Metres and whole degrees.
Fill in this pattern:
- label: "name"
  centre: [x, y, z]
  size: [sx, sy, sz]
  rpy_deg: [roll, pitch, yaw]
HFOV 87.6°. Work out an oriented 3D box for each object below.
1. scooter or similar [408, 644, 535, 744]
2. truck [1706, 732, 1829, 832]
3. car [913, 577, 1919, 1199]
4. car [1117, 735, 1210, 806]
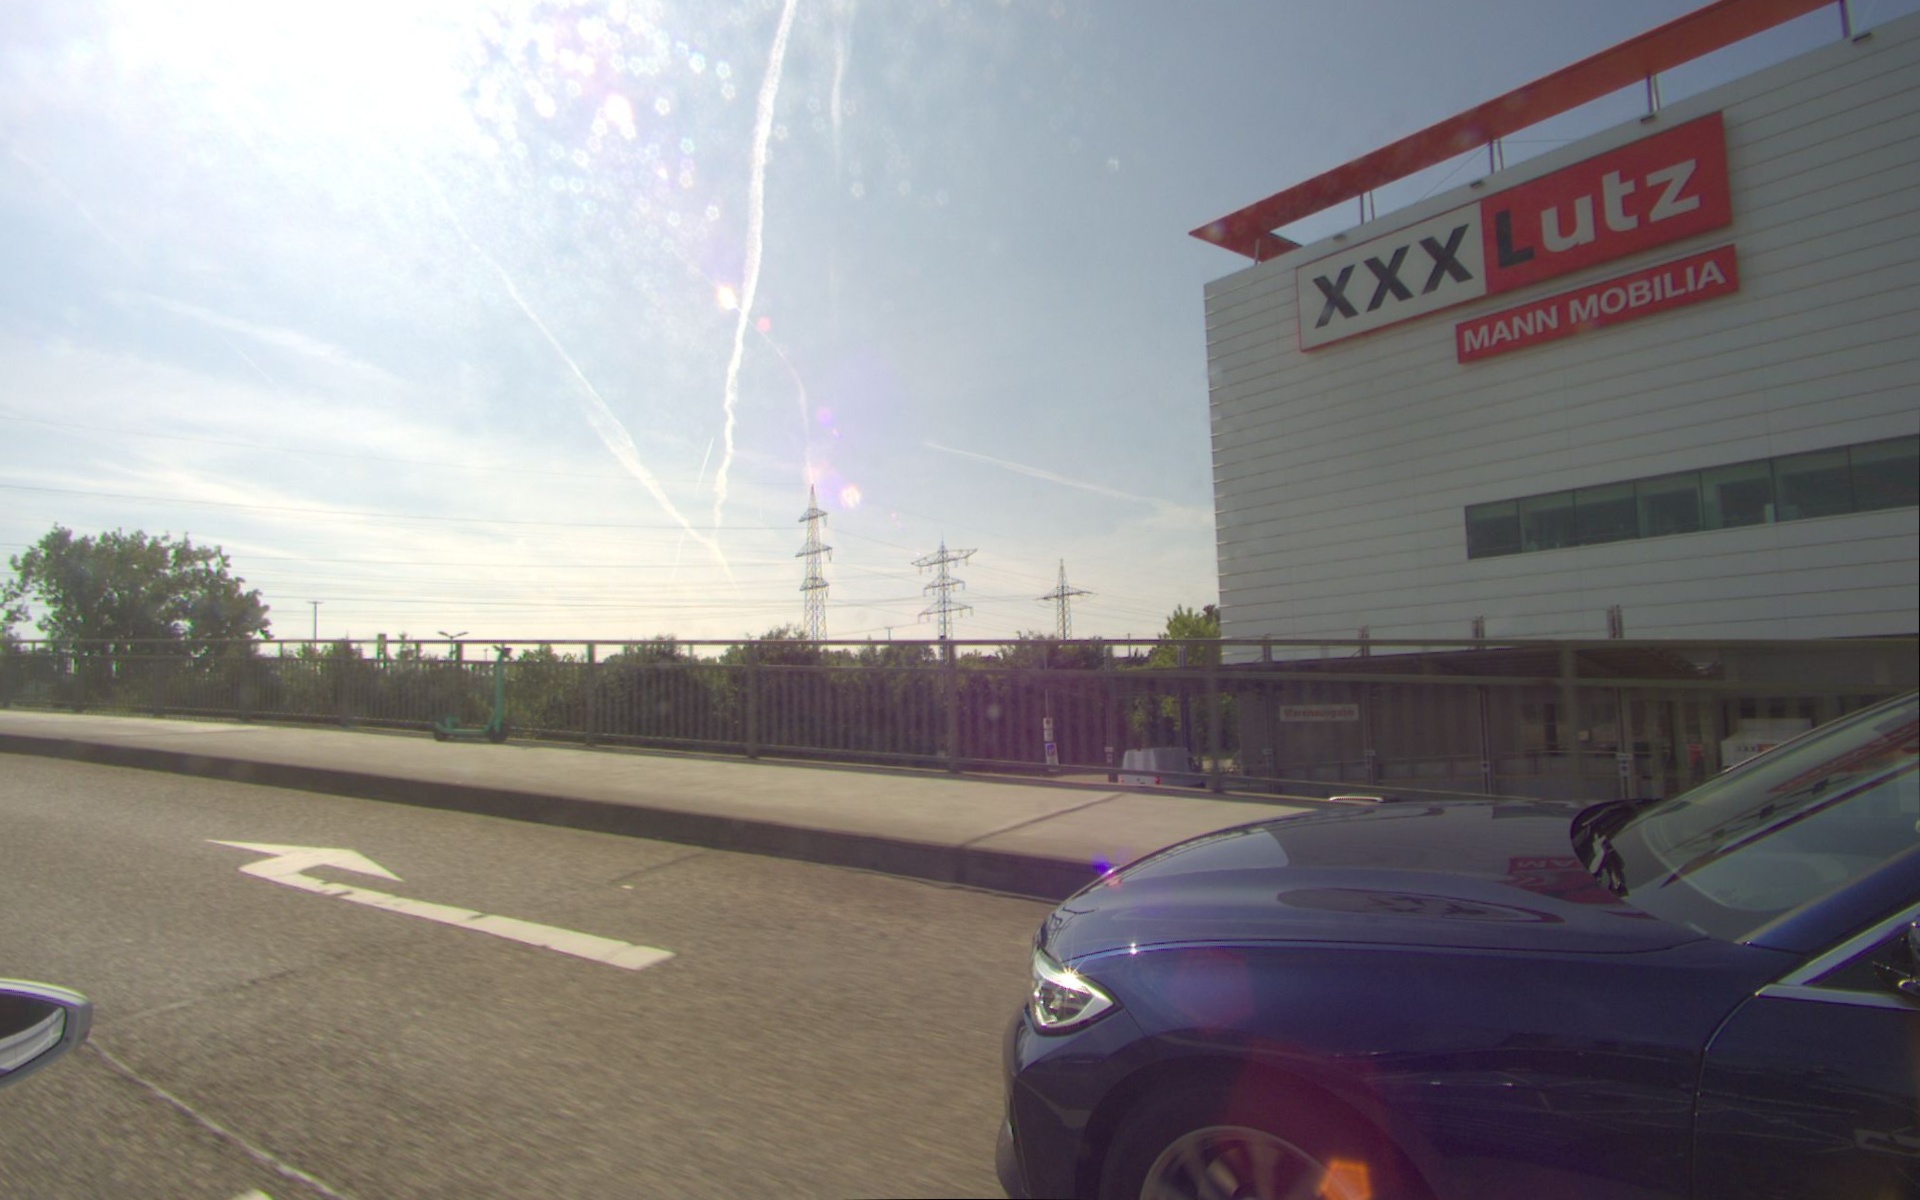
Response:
- label: "scooter or similar"
  centre: [-6.005, 1.135, 12.315]
  size: [1.456, 1.156, 0.512]
  rpy_deg: [0, -3, 21]
- label: "truck"
  centre: [28.592, 6.294, 35.379]
  size: [5.948, 2.961, 2.116]
  rpy_deg: [3, -7, -40]
- label: "car"
  centre: [2.258, 0.732, 1.696]
  size: [4.459, 1.500, 1.785]
  rpy_deg: [-5, -6, 32]
- label: "car"
  centre: [9.951, 8.154, 48.523]
  size: [2.105, 2.961, 5.980]
  rpy_deg: [-4, -6, 35]
